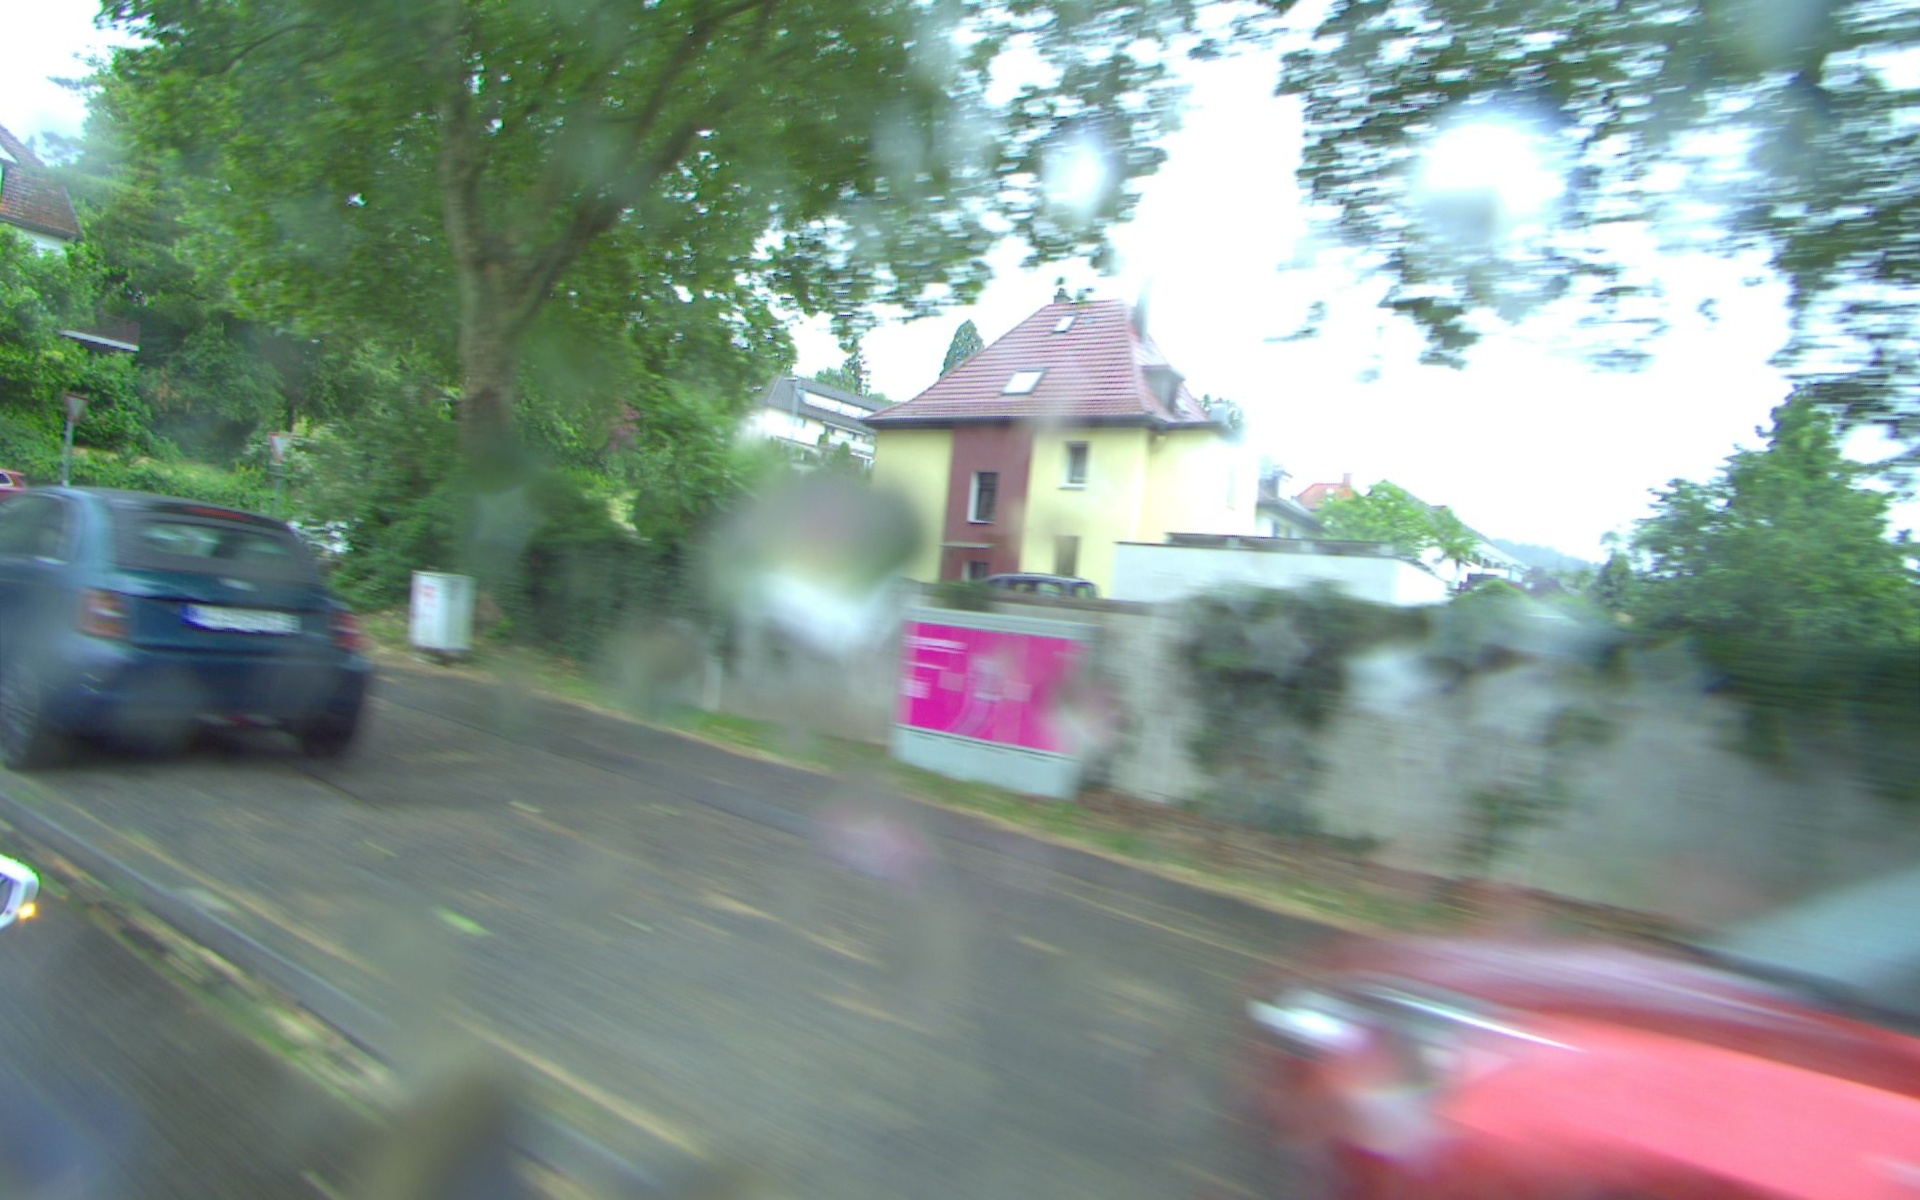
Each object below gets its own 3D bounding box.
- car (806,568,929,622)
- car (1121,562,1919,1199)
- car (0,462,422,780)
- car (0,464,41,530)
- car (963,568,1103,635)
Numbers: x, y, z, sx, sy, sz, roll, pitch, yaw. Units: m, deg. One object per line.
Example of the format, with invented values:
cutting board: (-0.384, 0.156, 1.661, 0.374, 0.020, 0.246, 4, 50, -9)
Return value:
car: (-2.788, -0.153, 30.164, 3.400, 1.315, 1.540, 5, 1, 34)
car: (2.397, 1.082, 1.805, 3.679, 1.531, 1.828, 9, -6, 30)
car: (-5.388, 0.040, 6.479, 3.541, 1.508, 1.753, 6, -2, 33)
car: (-26.111, -2.800, 24.957, 1.747, 1.621, 4.568, 5, 0, 34)
car: (1.953, 0.034, 27.128, 3.375, 1.490, 1.486, 5, 1, 34)
